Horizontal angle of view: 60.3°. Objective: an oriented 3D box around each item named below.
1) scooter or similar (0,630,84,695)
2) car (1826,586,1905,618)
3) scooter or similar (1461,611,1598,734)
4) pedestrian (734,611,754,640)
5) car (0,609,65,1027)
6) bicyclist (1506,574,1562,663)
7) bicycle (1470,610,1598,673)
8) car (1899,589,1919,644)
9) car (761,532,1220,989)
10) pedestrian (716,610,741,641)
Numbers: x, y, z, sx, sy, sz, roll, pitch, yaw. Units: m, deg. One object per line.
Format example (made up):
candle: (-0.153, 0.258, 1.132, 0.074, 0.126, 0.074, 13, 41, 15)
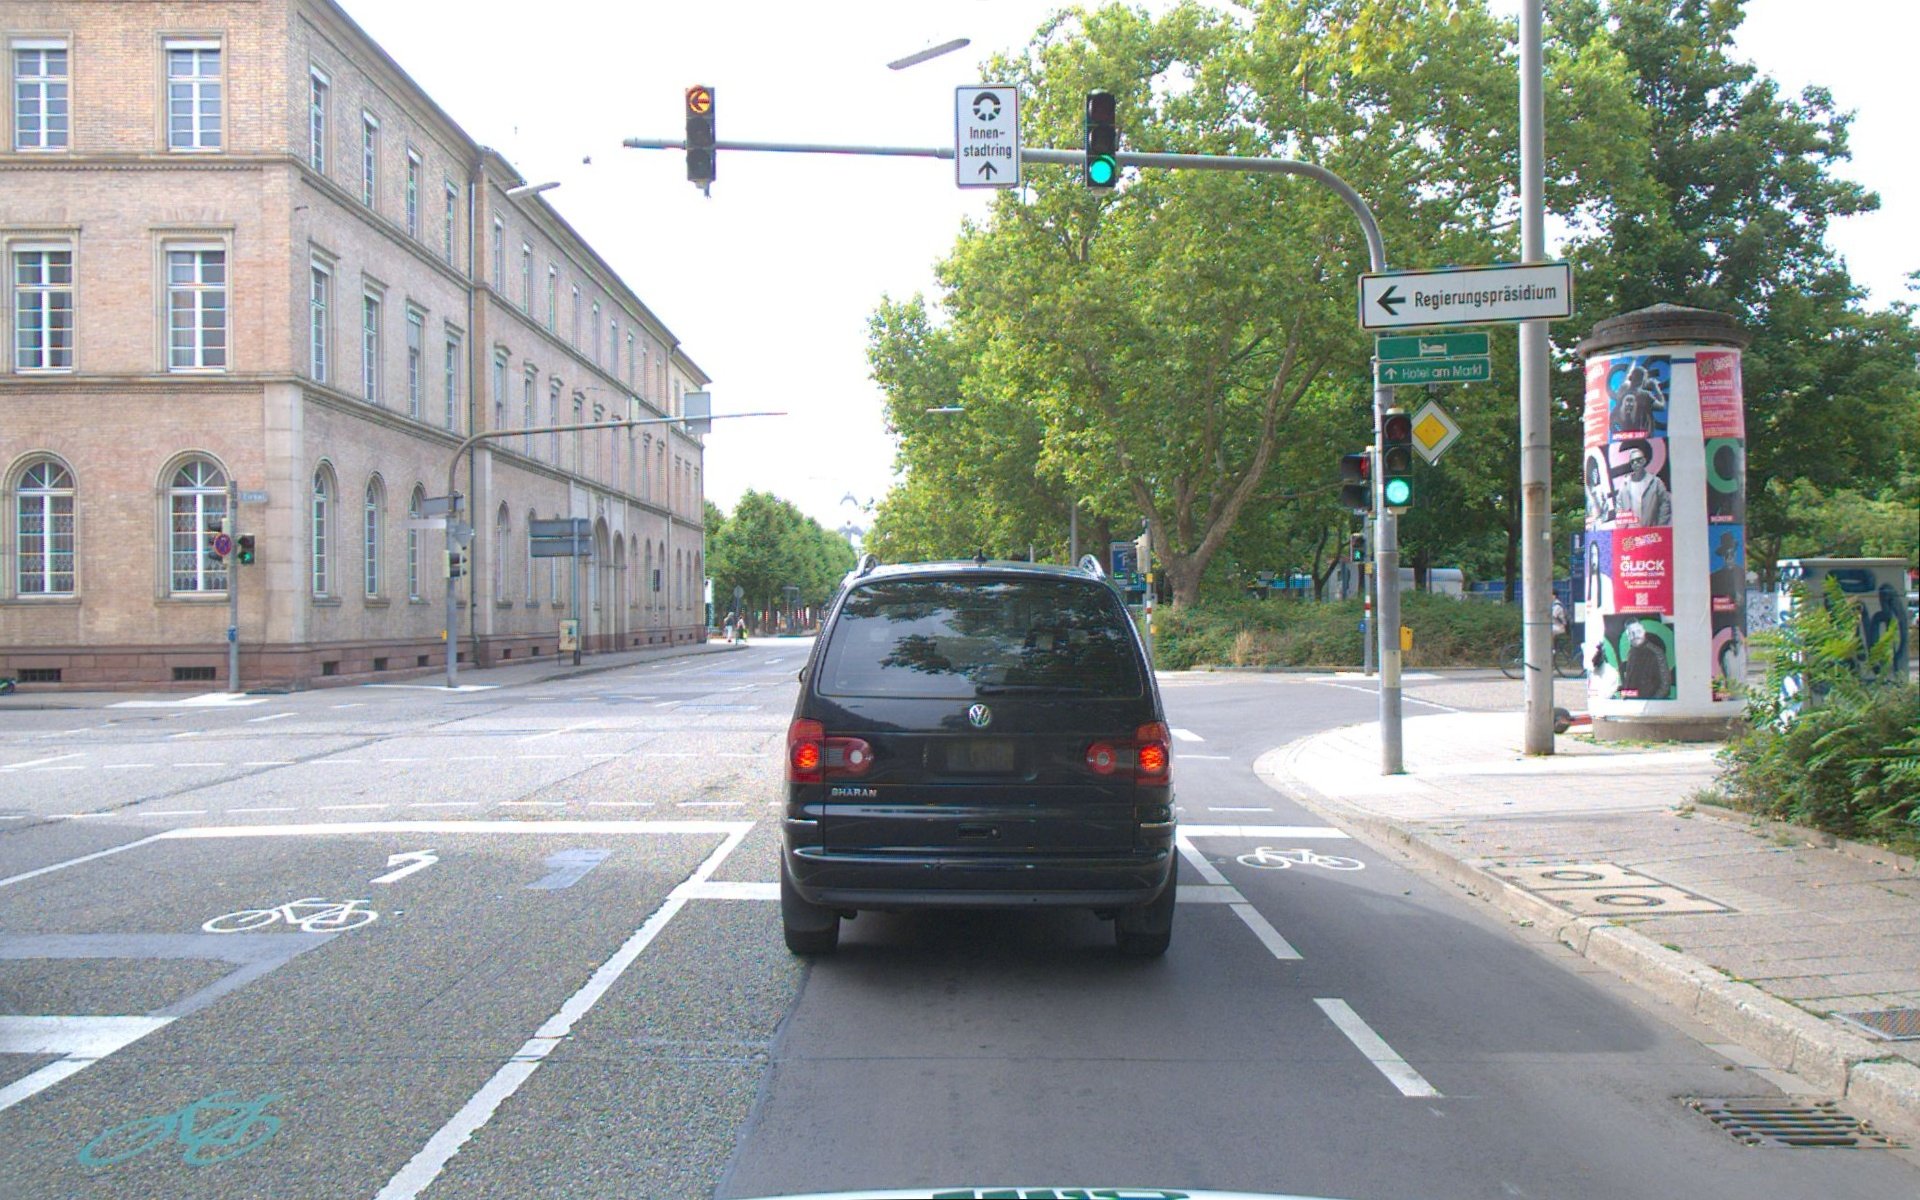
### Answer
scooter or similar: (-17.936, 1.172, 31.432, 2.318, 1.185, 0.561, 1, -1, 5)
car: (47.401, 0.098, 86.652, 1.954, 1.608, 3.787, 1, 0, -3)
scooter or similar: (6.070, 0.769, 17.654, 1.279, 1.230, 0.344, -3, -1, 4)
pedestrian: (-12.517, 1.470, 95.857, 0.877, 1.670, 0.853, 1, -1, 18)
car: (-4.164, 0.768, 4.296, 1.635, 1.464, 3.819, -1, 0, -1)
bicyclist: (11.293, 0.373, 32.574, 0.811, 1.708, 0.916, -1, -2, 4)
bicycle: (11.272, 0.823, 32.559, 2.197, 1.193, 0.916, -1, -2, 4)
car: (32.633, 0.558, 53.204, 1.954, 1.825, 4.770, 1, 0, -3)
car: (0.089, 0.630, 8.484, 1.757, 1.738, 4.130, -1, 0, -1)
pedestrian: (-13.404, 1.456, 95.901, 0.940, 1.772, 1.256, 1, 0, 18)
